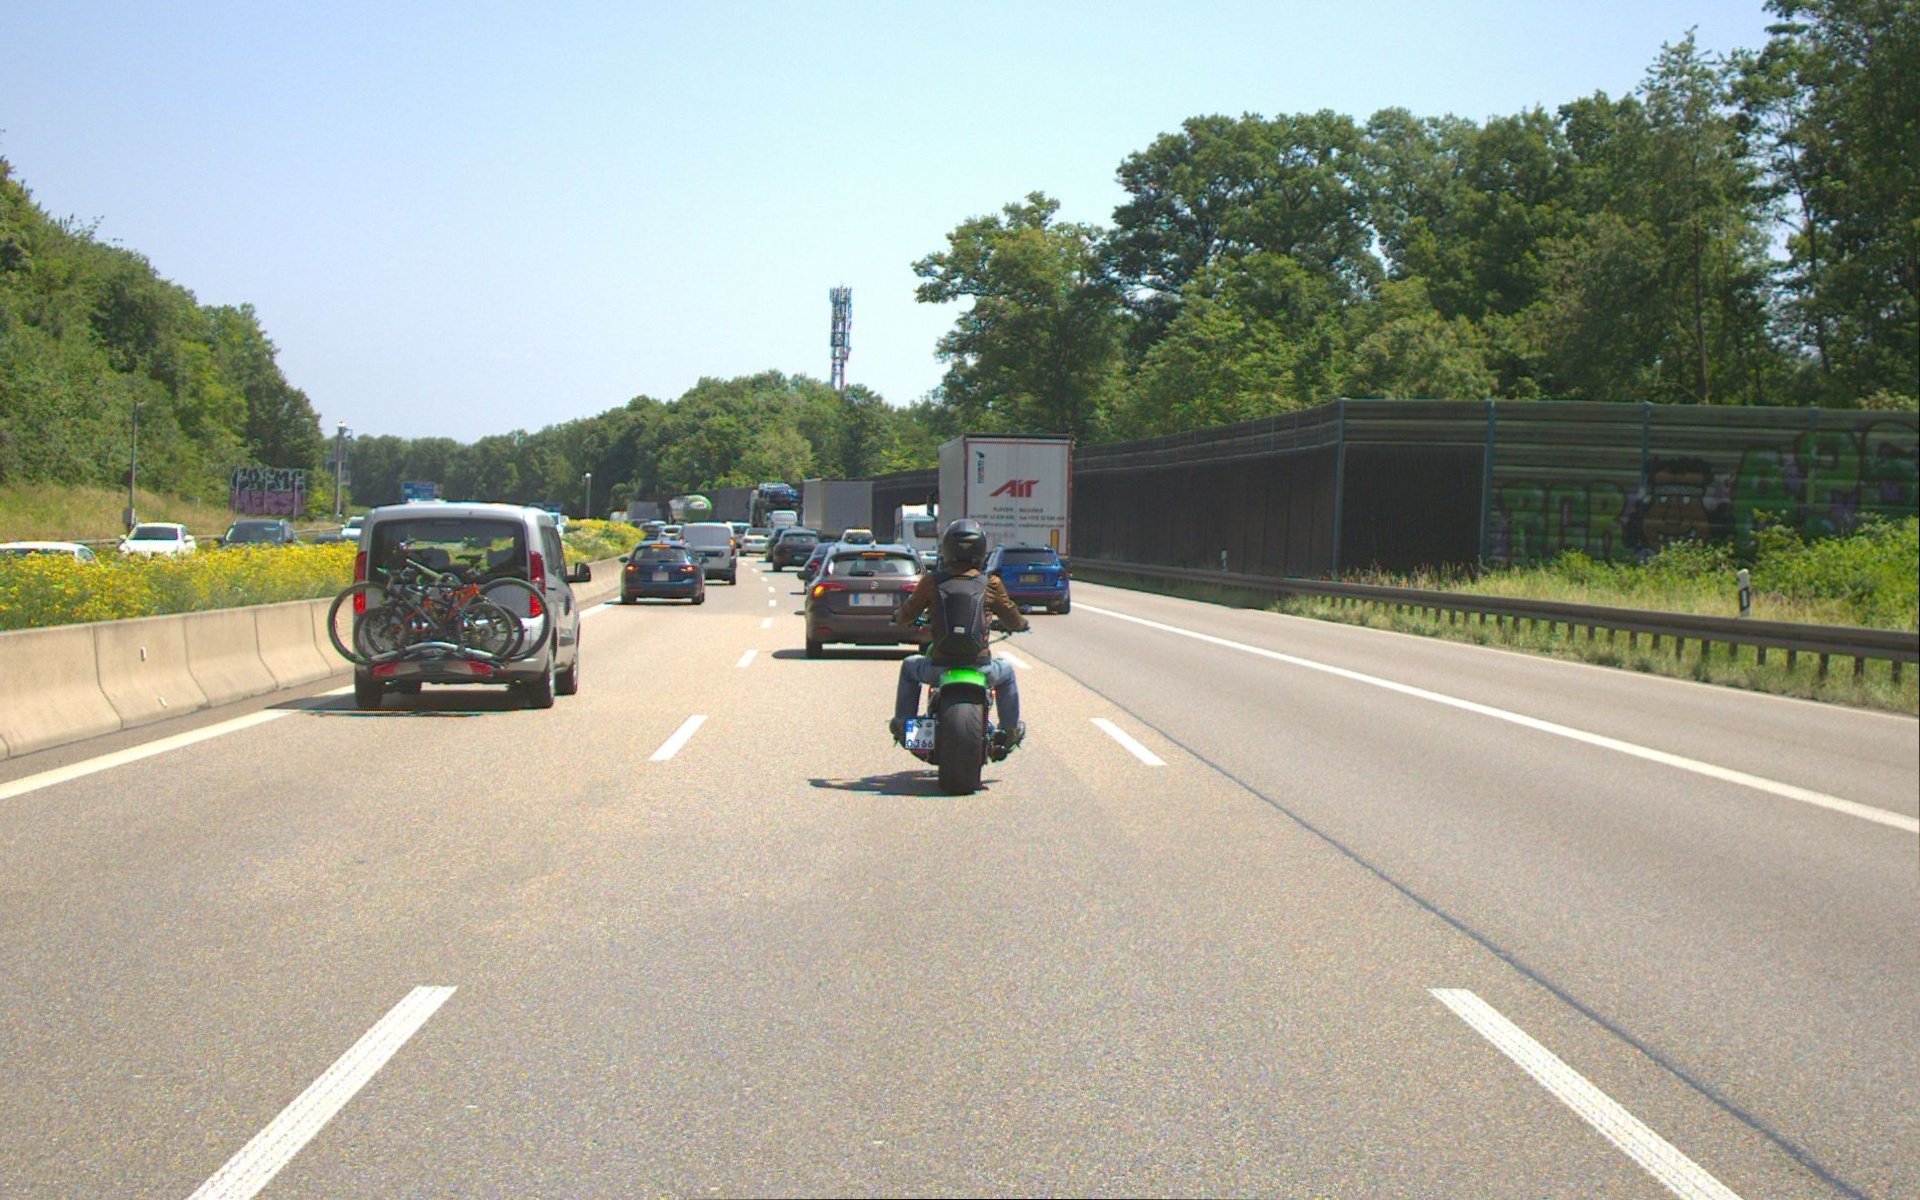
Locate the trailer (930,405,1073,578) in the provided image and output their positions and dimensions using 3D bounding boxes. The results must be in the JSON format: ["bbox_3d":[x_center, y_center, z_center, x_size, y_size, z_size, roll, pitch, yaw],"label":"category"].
[{"bbox_3d":[0.920,-2.716,87.650,2.885,4.024,13.797,1,1,-2],"label":"trailer"}]

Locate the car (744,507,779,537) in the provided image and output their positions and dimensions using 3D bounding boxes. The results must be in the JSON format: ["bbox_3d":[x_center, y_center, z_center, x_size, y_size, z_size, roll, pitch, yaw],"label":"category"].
[{"bbox_3d":[-12.900,-5.069,223.241,2.107,1.870,4.001,1,0,-6],"label":"car"}]

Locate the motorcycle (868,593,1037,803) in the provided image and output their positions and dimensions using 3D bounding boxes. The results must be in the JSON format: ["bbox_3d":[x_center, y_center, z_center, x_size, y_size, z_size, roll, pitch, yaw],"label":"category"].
[{"bbox_3d":[-0.020,0.572,21.490,0.964,1.144,2.812,1,1,1],"label":"motorcycle"}]

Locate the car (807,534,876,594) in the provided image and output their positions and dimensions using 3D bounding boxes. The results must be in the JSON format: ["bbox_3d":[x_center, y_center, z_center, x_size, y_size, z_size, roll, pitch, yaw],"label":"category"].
[{"bbox_3d":[-3.173,-0.953,92.322,1.779,1.547,3.585,1,0,-2],"label":"car"}]

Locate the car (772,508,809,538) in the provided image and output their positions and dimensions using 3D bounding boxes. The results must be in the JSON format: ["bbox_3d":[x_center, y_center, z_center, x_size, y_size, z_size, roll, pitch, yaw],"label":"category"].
[{"bbox_3d":[-10.760,-4.865,217.724,2.107,1.870,4.001,1,0,-6],"label":"car"}]

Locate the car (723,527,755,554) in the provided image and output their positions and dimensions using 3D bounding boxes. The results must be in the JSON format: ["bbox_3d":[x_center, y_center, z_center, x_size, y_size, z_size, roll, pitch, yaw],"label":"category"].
[{"bbox_3d":[-12.739,-3.402,198.087,1.832,1.491,3.744,1,0,-4],"label":"car"}]

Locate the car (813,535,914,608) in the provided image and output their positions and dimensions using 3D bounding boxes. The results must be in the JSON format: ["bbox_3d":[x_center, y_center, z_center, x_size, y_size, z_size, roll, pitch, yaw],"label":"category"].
[{"bbox_3d":[-2.005,-0.577,70.343,1.993,1.425,3.848,1,0,-2],"label":"car"}]

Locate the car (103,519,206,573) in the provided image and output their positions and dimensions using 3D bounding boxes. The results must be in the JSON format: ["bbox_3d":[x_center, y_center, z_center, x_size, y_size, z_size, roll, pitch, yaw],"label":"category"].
[{"bbox_3d":[-22.312,-1.468,95.385,1.993,1.437,4.172,1,0,-2],"label":"car"}]

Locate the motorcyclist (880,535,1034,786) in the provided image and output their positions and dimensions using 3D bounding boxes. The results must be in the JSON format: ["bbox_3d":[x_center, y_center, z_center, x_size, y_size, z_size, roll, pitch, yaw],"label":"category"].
[{"bbox_3d":[0.001,0.352,21.237,0.899,1.470,1.872,1,0,1],"label":"motorcyclist"}]

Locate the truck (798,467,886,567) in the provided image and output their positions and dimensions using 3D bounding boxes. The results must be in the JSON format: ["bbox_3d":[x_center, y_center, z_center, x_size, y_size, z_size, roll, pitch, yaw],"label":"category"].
[{"bbox_3d":[-6.180,-4.235,178.103,3.802,4.943,8.952,1,0,-7],"label":"truck"}]

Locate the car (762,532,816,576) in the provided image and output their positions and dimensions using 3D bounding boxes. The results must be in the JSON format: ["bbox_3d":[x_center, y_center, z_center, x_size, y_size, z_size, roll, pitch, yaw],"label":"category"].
[{"bbox_3d":[-6.585,-1.754,132.106,1.993,1.634,4.001,1,0,-4],"label":"car"}]

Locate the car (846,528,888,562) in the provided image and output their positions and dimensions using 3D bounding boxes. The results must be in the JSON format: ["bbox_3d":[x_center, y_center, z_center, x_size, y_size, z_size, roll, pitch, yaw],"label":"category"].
[{"bbox_3d":[-4.497,-2.645,165.879,1.993,1.568,4.000,1,0,-2],"label":"car"}]

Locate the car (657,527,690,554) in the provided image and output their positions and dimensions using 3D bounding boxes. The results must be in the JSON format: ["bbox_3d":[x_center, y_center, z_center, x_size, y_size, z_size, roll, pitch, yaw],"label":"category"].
[{"bbox_3d":[-16.192,-3.362,194.313,1.832,1.491,3.744,1,0,-4],"label":"car"}]

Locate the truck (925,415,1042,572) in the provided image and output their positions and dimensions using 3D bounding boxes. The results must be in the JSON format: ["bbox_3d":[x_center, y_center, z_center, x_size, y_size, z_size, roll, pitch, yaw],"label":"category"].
[{"bbox_3d":[0.600,-2.895,94.476,2.885,4.132,5.987,1,1,-2],"label":"truck"}]

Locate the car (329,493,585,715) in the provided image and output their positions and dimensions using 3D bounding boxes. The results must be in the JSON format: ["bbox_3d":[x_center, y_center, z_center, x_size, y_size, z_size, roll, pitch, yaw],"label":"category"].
[{"bbox_3d":[-4.508,0.021,31.366,1.899,1.867,4.413,1,0,-3],"label":"car"}]

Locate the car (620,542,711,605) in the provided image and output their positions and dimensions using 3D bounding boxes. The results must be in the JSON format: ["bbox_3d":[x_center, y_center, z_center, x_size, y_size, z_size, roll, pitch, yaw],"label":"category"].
[{"bbox_3d":[-6.665,-0.604,78.066,1.993,1.382,4.001,1,0,-4],"label":"car"}]

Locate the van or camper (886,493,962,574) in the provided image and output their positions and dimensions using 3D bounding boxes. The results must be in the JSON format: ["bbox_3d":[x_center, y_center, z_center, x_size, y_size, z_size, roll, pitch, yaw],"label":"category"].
[{"bbox_3d":[-1.333,-2.388,125.390,2.685,2.803,6.803,1,0,-1],"label":"van or camper"}]

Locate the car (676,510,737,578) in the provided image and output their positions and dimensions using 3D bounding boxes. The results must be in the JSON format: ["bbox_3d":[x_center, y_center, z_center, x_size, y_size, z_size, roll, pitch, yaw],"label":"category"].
[{"bbox_3d":[-7.711,-1.695,104.894,1.791,2.007,3.642,1,0,-3],"label":"car"}]

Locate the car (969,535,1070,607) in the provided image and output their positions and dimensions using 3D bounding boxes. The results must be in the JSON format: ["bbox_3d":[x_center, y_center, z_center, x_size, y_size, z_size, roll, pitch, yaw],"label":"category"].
[{"bbox_3d":[1.233,-0.610,72.970,1.650,1.477,4.482,1,0,-5],"label":"car"}]

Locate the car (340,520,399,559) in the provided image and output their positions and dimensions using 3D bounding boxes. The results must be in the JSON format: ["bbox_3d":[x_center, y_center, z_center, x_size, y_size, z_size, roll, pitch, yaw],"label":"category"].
[{"bbox_3d":[-25.604,-2.640,149.237,1.993,1.611,4.484,1,1,-3],"label":"car"}]

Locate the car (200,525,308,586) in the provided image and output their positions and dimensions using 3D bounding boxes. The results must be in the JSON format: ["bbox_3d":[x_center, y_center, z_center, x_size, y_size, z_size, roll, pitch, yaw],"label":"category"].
[{"bbox_3d":[-17.863,-1.118,87.168,1.993,1.481,4.000,1,0,-1],"label":"car"}]

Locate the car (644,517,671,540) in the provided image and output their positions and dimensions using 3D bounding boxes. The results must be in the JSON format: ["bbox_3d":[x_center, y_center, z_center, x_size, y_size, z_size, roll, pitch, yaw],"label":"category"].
[{"bbox_3d":[-21.000,-4.973,238.539,1.832,1.491,3.744,1,0,-6],"label":"car"}]

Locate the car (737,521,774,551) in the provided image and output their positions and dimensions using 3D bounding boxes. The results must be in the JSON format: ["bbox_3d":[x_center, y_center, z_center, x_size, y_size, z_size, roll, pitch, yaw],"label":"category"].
[{"bbox_3d":[-10.490,-3.262,175.952,1.832,1.491,3.744,1,0,-4],"label":"car"}]

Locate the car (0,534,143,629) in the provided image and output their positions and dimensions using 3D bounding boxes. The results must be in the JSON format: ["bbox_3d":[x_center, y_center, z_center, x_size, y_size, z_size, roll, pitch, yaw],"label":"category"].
[{"bbox_3d":[-13.673,-0.315,52.465,1.622,1.381,4.139,0,1,-3],"label":"car"}]

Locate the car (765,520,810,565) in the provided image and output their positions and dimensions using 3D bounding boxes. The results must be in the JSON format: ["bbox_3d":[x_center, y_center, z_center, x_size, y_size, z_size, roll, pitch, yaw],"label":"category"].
[{"bbox_3d":[-7.871,-2.601,156.843,1.911,2.007,3.691,1,0,-5],"label":"car"}]

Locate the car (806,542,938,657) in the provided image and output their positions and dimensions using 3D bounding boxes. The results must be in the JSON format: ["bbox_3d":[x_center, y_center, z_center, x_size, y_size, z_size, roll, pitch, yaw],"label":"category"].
[{"bbox_3d":[-1.190,-0.019,45.613,1.662,1.448,3.869,1,0,-2],"label":"car"}]
